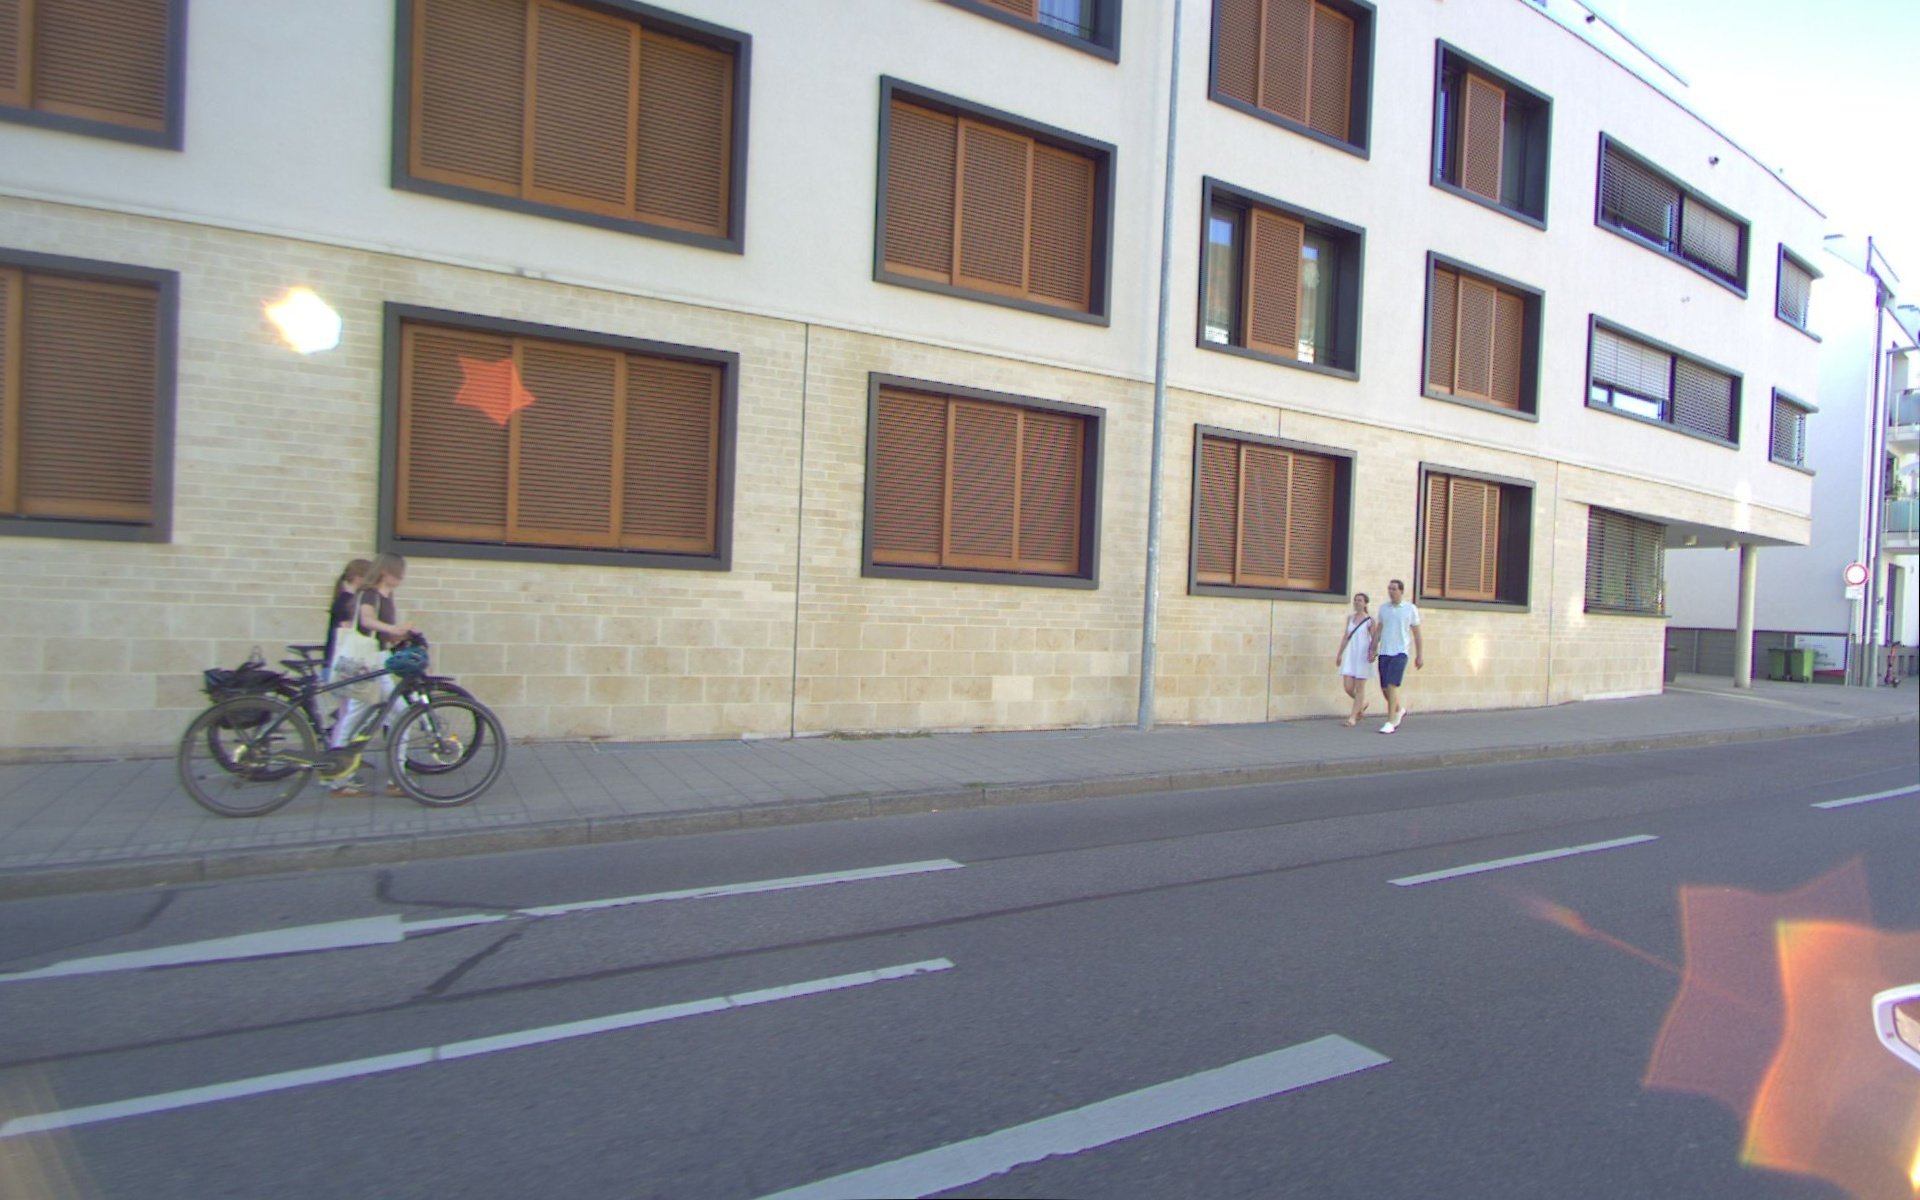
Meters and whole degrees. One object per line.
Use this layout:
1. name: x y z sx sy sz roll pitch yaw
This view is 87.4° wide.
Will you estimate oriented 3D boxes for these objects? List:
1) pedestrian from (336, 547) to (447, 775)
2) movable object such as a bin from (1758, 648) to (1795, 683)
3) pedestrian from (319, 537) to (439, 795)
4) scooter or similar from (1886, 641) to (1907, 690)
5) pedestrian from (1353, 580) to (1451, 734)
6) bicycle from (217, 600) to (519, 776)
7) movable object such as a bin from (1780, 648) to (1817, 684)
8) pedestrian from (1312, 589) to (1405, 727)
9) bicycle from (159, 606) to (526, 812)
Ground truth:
1. pedestrian: -4.120 0.430 7.313 0.593 1.586 0.473 2 1 -21
2. movable object such as a bin: 22.743 1.813 27.972 0.522 0.913 0.548 3 1 -16
3. pedestrian: -3.916 0.430 6.796 0.593 1.669 0.473 2 3 -21
4. scooter or similar: 25.441 1.767 27.299 0.221 1.236 1.150 4 2 36
5. pedestrian: 5.632 0.718 12.800 0.982 1.873 0.602 3 1 -33
6. bicycle: -4.206 0.627 7.251 1.809 1.183 0.375 2 2 -19
7. movable object such as a bin: 22.892 1.792 27.422 0.522 0.913 0.548 3 1 -16
8. pedestrian: 5.297 0.759 13.373 0.834 1.737 0.698 3 1 -32
9. bicycle: -3.861 0.668 6.444 1.938 1.194 0.439 2 2 -21
